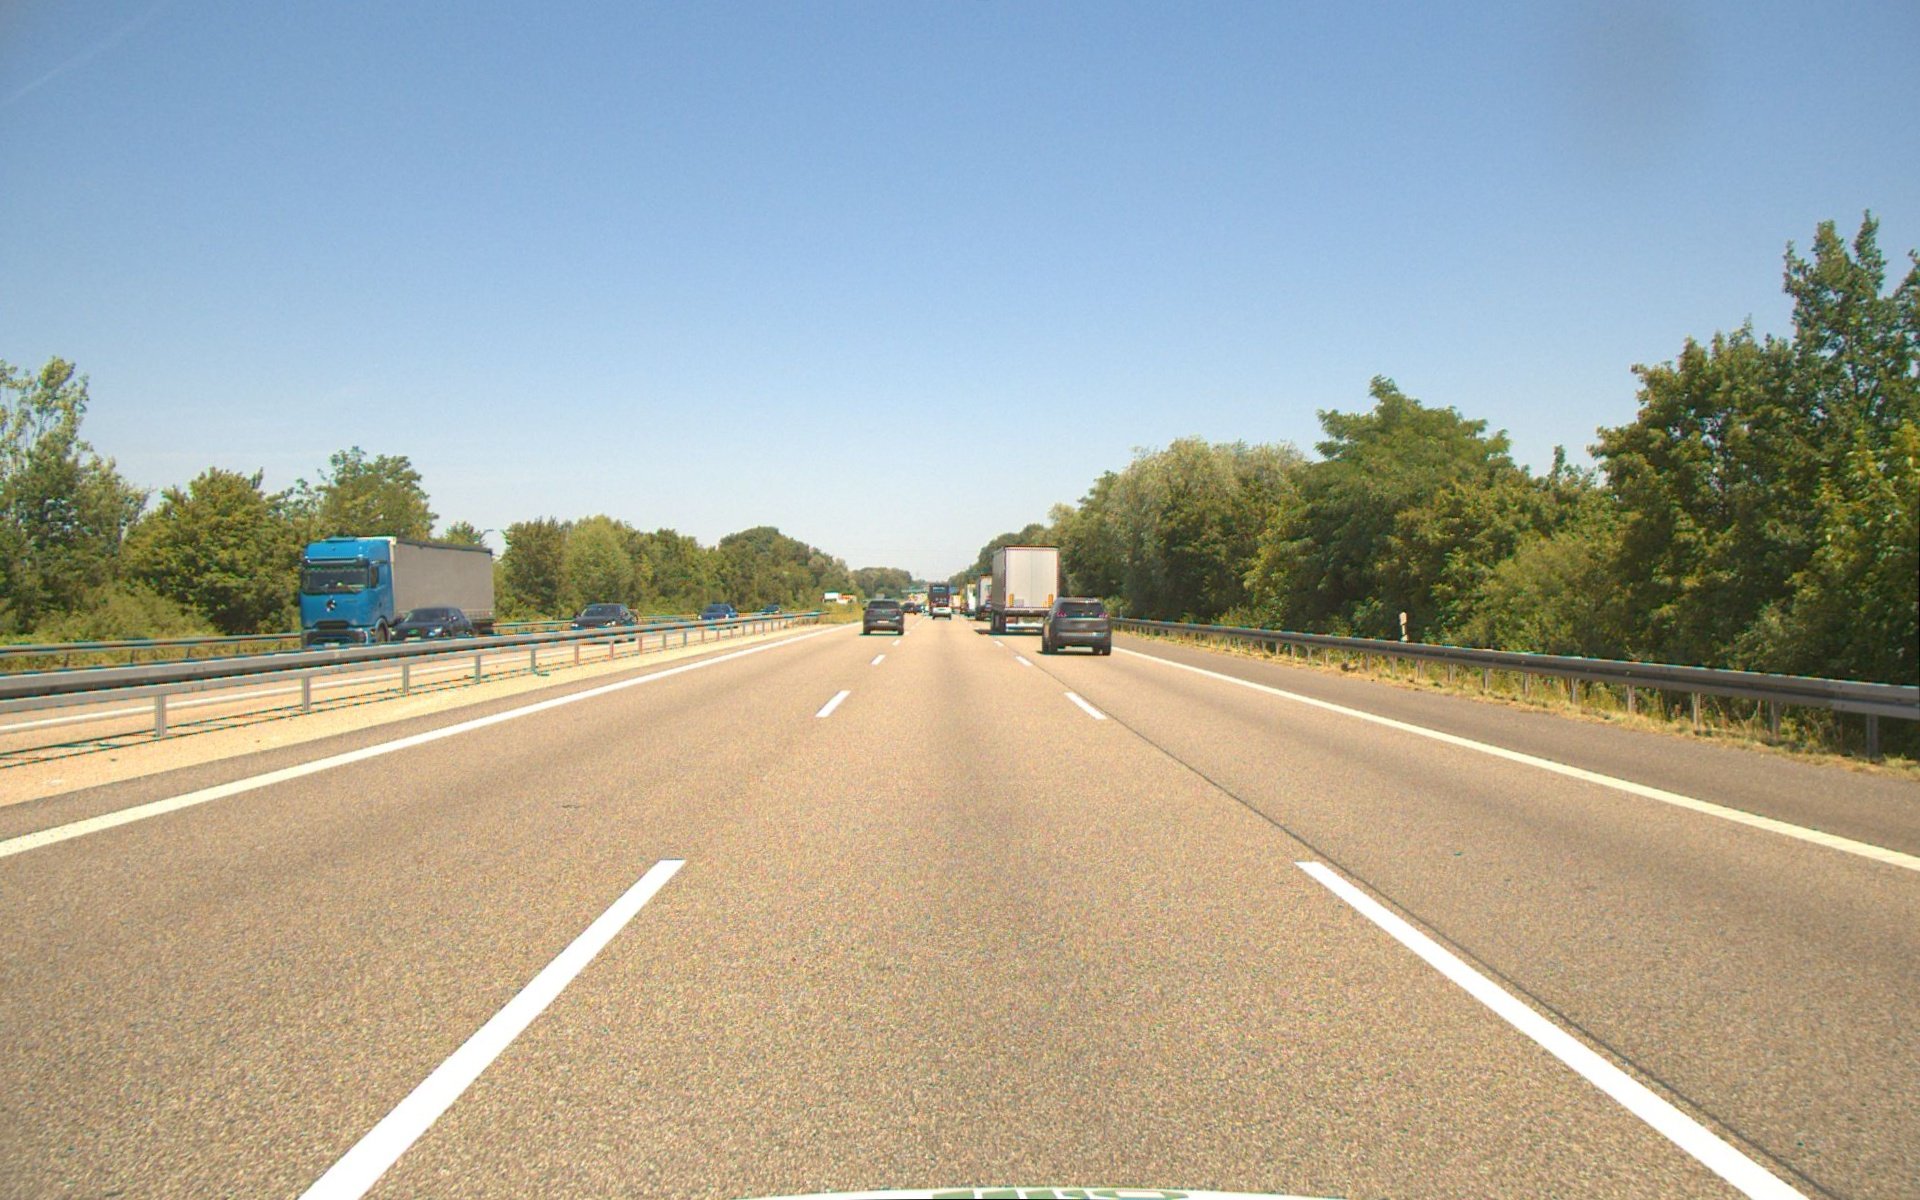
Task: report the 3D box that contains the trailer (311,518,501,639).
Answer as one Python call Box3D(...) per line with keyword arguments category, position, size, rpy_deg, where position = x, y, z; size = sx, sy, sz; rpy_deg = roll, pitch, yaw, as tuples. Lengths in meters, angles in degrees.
Box3D(category="trailer", position=(-21.645, -0.834, 65.824), size=(3.230, 4.259, 13.538), rpy_deg=(-1, 1, -1))

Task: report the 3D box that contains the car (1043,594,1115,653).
Box3D(category="car", position=(3.478, 0.658, 48.907), size=(1.807, 1.657, 4.134), rpy_deg=(0, 0, 0))

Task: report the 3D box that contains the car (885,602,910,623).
Box3D(category="car", position=(-5.124, 1.031, 135.584), size=(1.862, 1.557, 4.083), rpy_deg=(1, 1, -1))

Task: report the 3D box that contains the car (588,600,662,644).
Box3D(category="car", position=(-12.658, 0.804, 62.787), size=(1.812, 1.488, 5.168), rpy_deg=(-3, 0, -1))

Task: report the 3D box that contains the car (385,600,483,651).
Box3D(category="car", position=(-17.147, 0.805, 54.139), size=(1.812, 1.488, 4.313), rpy_deg=(3, 0, -1))

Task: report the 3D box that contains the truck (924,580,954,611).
Box3D(category="truck", position=(-2.586, -0.573, 210.351), size=(3.592, 3.791, 7.109), rpy_deg=(1, 1, 0))

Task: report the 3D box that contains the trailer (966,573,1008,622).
Box3D(category="trailer", position=(2.267, -0.247, 141.248), size=(3.059, 3.995, 9.933), rpy_deg=(1, 1, -2))

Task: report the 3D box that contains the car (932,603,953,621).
Box3D(category="car", position=(-1.629, 1.064, 152.920), size=(1.862, 1.557, 4.083), rpy_deg=(1, 1, -1))

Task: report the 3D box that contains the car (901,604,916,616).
Box3D(category="car", position=(-7.099, 1.346, 227.882), size=(1.869, 1.557, 4.285), rpy_deg=(1, 1, -1))

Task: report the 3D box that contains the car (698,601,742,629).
Box3D(category="car", position=(-13.512, 0.831, 93.351), size=(1.812, 1.419, 4.741), rpy_deg=(-3, 0, -1))

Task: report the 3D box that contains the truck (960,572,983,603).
Box3D(category="truck", position=(1.410, -1.543, 204.577), size=(2.735, 3.791, 7.109), rpy_deg=(1, 1, 0))

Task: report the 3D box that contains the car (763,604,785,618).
Box3D(category="car", position=(-19.285, 1.117, 171.597), size=(1.825, 1.426, 4.530), rpy_deg=(-2, 0, -1))

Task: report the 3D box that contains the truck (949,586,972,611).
Box3D(category="truck", position=(0.117, -0.280, 257.848), size=(3.417, 3.791, 7.109), rpy_deg=(1, 1, 0))

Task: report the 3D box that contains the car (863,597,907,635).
Box3D(category="car", position=(-3.288, 0.688, 73.091), size=(1.723, 1.557, 4.285), rpy_deg=(1, 1, -1))

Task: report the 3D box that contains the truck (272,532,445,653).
Box3D(category="truck", position=(-21.489, -0.291, 59.739), size=(3.186, 4.056, 8.726), rpy_deg=(0, 1, -1))

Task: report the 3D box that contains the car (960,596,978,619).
Box3D(category="car", position=(0.978, 0.782, 182.976), size=(1.869, 2.467, 4.285), rpy_deg=(1, 1, -1))

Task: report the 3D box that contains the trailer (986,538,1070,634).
Box3D(category="trailer", position=(3.165, -0.594, 81.088), size=(3.364, 4.254, 13.630), rpy_deg=(1, 0, 0))
